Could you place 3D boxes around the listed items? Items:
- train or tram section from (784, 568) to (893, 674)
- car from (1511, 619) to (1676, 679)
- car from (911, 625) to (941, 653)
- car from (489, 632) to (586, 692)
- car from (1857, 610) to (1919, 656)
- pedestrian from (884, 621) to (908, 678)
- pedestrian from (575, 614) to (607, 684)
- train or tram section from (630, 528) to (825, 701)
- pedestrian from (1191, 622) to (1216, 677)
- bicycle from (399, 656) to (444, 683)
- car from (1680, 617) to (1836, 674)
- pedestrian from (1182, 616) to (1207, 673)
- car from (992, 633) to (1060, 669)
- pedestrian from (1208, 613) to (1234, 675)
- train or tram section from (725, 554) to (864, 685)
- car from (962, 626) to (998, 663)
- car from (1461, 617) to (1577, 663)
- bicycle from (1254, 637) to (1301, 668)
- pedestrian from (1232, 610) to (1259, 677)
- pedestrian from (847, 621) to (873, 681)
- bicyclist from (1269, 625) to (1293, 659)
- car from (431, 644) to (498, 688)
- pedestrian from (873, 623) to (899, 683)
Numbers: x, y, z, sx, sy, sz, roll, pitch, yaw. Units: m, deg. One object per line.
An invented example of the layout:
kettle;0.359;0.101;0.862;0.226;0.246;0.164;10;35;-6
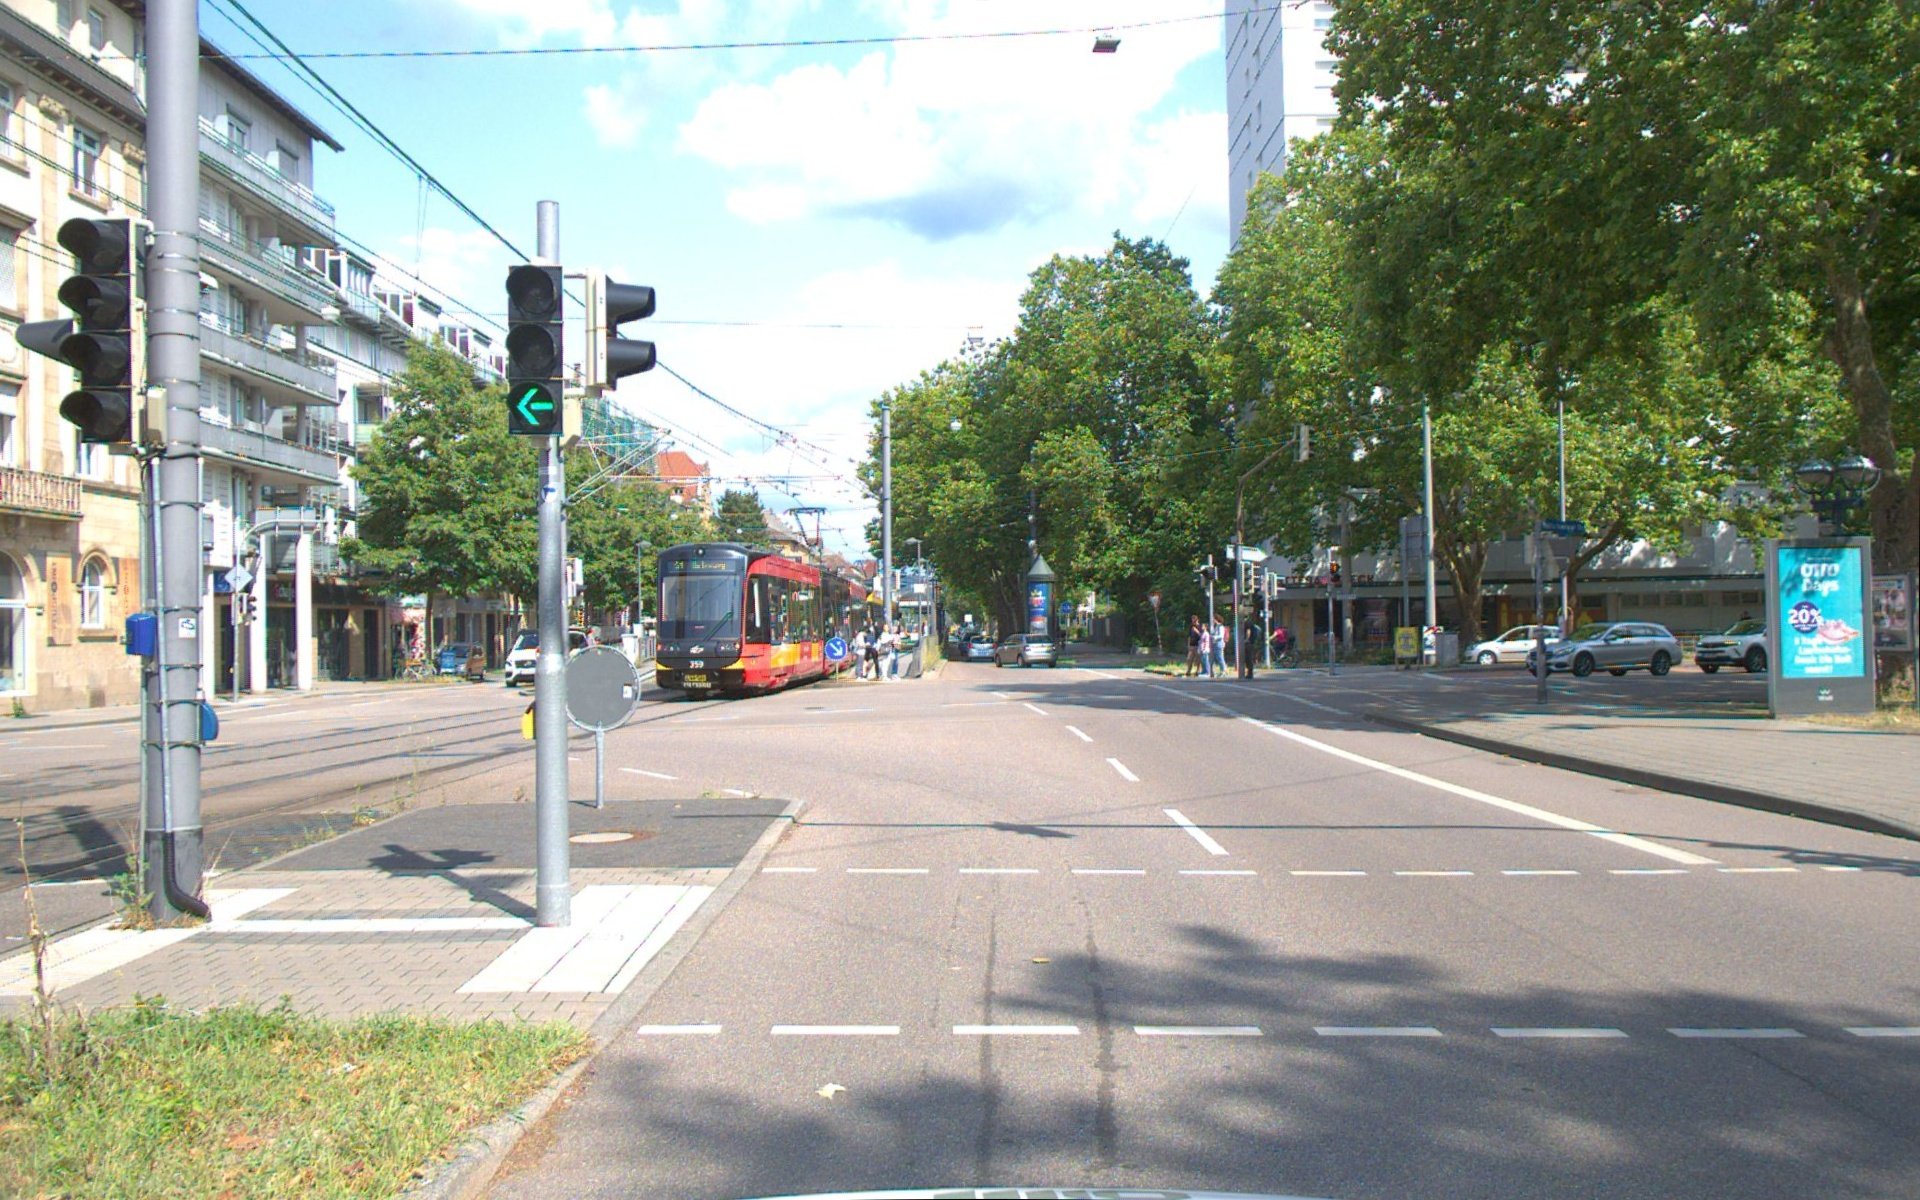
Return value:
train or tram section;-4.505;0.833;64.026;2.747;3.623;12.159;-2;-1;2
car;17.403;1.342;45.449;3.924;1.516;1.852;-1;-1;-17
car;-2.321;2.688;113.926;1.777;1.836;4.001;-2;-1;3
car;-14.480;2.101;57.005;1.953;1.925;5.171;-1;-1;0
car;33.395;1.097;57.190;3.765;1.516;1.858;-1;-1;-8
pedestrian;-1.949;1.505;50.488;0.655;1.733;0.648;-1;-1;2
pedestrian;-10.987;1.466;49.238;0.722;2.049;0.704;-1;-1;5
train or tram section;-5.452;0.405;41.123;2.738;3.623;11.379;-2;-1;2
pedestrian;7.282;1.468;49.396;0.503;1.625;0.553;-1;-1;-21
bicycle;-21.700;2.798;66.660;1.655;1.003;0.497;-1;-1;-3
car;23.186;1.307;48.063;4.005;1.516;1.849;-1;-1;-22
pedestrian;7.071;1.352;49.941;0.503;1.700;0.553;-1;-1;-21
car;2.860;2.198;71.999;1.723;1.478;3.583;-1;-1;-20
pedestrian;7.576;1.276;48.041;0.520;1.766;0.553;-1;-1;-21
train or tram section;-5.003;0.634;52.342;2.747;3.623;11.184;-2;-1;2
car;1.121;2.524;94.221;1.953;2.049;3.999;0;-1;-1
car;19.658;1.397;58.275;3.582;1.510;1.737;-2;-1;7
bicycle;12.081;1.995;62.948;1.644;1.108;0.482;0;-1;28
pedestrian;7.979;1.207;46.250;0.473;1.857;0.553;-2;-2;42
pedestrian;-2.933;1.484;48.377;0.655;1.733;0.648;-1;-1;2
bicyclist;12.198;1.594;62.897;0.796;1.273;0.482;0;-2;27
car;-22.169;2.933;74.140;1.809;1.821;3.999;1;-1;-1
pedestrian;-2.163;1.554;48.420;0.655;1.733;0.648;-1;-1;2
